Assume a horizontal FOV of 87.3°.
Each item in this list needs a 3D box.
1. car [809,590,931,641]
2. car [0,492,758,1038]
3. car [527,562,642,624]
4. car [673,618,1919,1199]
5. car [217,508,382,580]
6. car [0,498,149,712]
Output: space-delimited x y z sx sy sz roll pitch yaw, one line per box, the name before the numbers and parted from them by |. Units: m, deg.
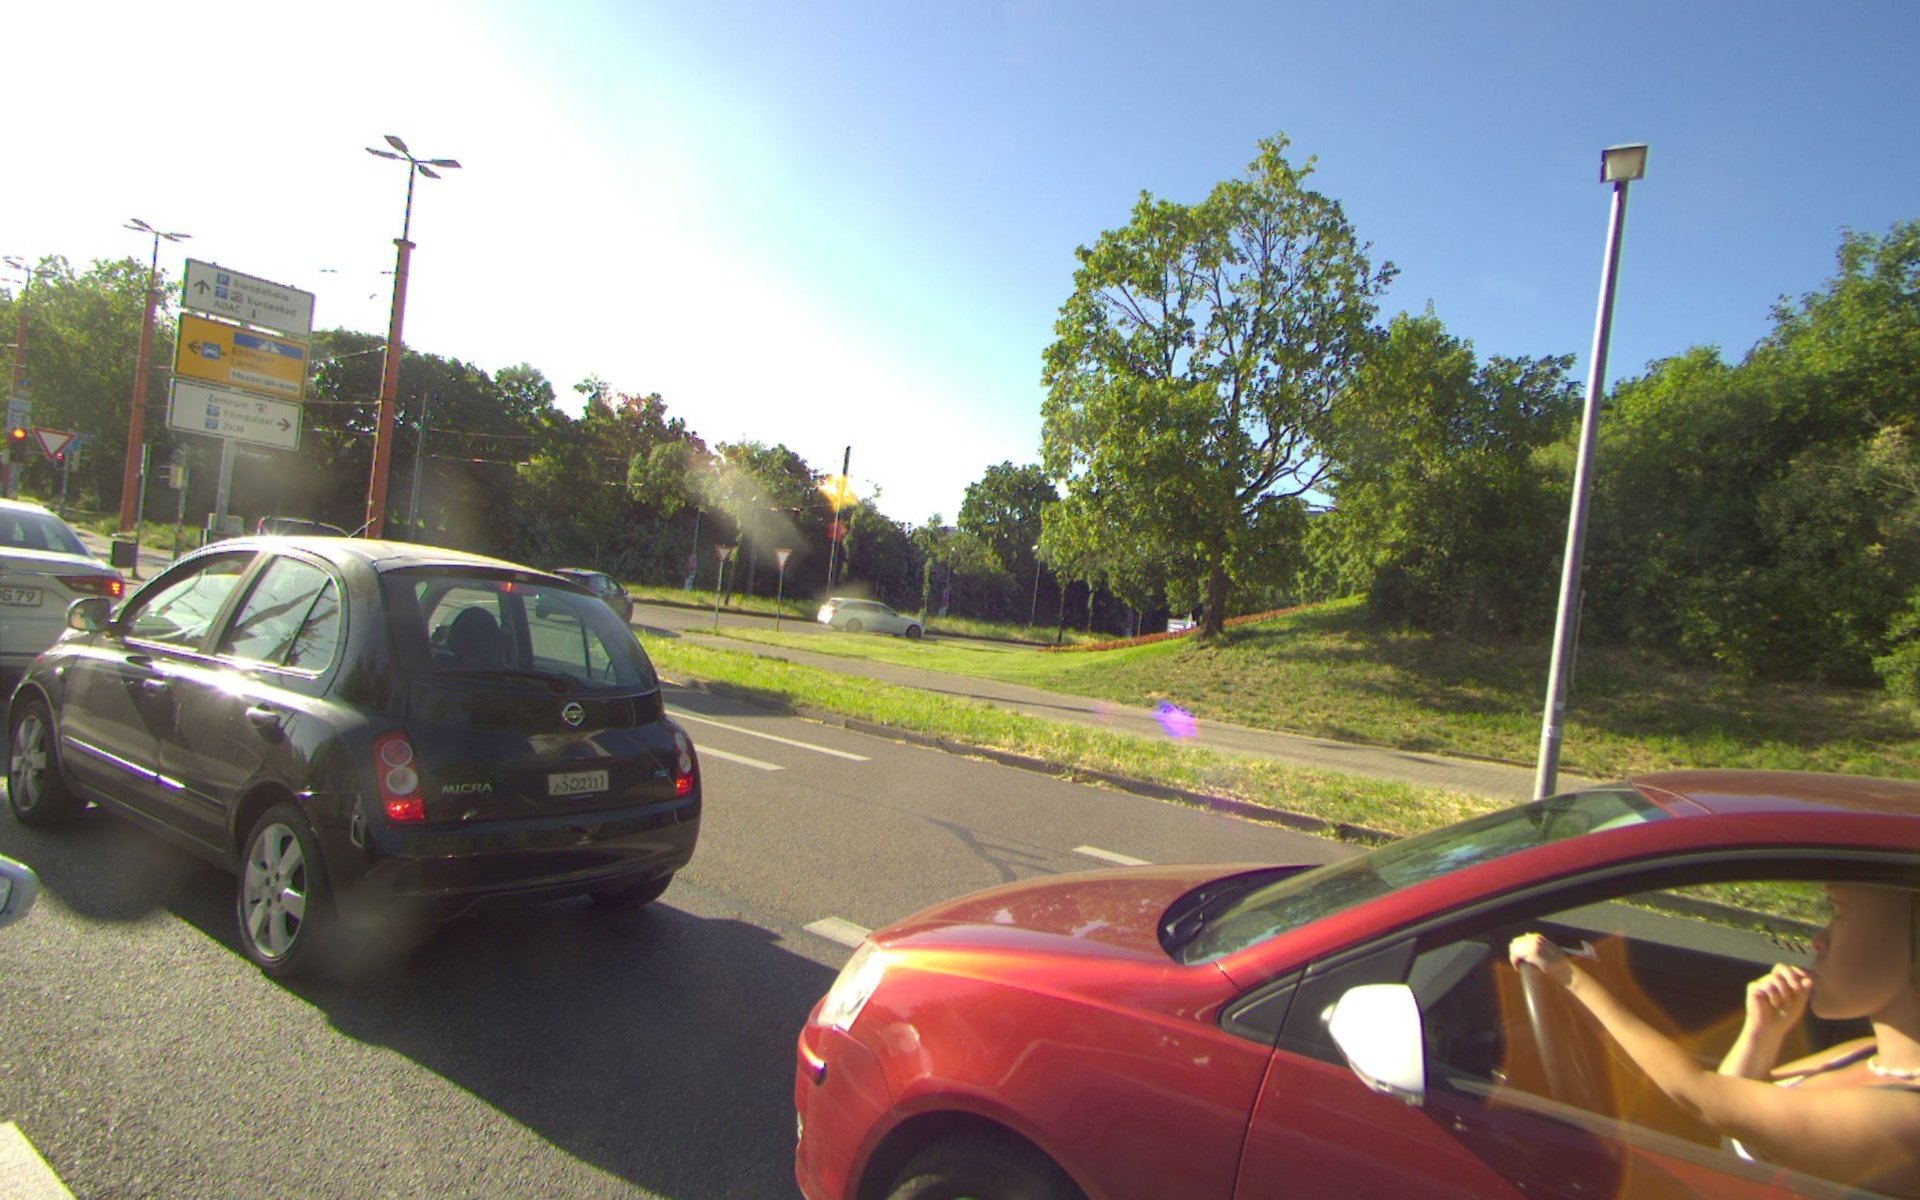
car | -3.955 0.702 44.351 4.876 1.594 1.985 8 -1 -30
car | -2.824 0.466 4.629 3.457 1.524 1.558 7 0 32
car | -10.982 -0.156 29.722 1.719 1.486 3.893 7 -1 2
car | 1.368 0.992 1.898 3.634 1.434 1.624 7 -1 34
car | -23.670 -1.978 36.300 4.746 1.858 1.899 8 -1 -31
car | -8.350 -0.162 7.982 4.077 1.472 1.717 7 -1 33
